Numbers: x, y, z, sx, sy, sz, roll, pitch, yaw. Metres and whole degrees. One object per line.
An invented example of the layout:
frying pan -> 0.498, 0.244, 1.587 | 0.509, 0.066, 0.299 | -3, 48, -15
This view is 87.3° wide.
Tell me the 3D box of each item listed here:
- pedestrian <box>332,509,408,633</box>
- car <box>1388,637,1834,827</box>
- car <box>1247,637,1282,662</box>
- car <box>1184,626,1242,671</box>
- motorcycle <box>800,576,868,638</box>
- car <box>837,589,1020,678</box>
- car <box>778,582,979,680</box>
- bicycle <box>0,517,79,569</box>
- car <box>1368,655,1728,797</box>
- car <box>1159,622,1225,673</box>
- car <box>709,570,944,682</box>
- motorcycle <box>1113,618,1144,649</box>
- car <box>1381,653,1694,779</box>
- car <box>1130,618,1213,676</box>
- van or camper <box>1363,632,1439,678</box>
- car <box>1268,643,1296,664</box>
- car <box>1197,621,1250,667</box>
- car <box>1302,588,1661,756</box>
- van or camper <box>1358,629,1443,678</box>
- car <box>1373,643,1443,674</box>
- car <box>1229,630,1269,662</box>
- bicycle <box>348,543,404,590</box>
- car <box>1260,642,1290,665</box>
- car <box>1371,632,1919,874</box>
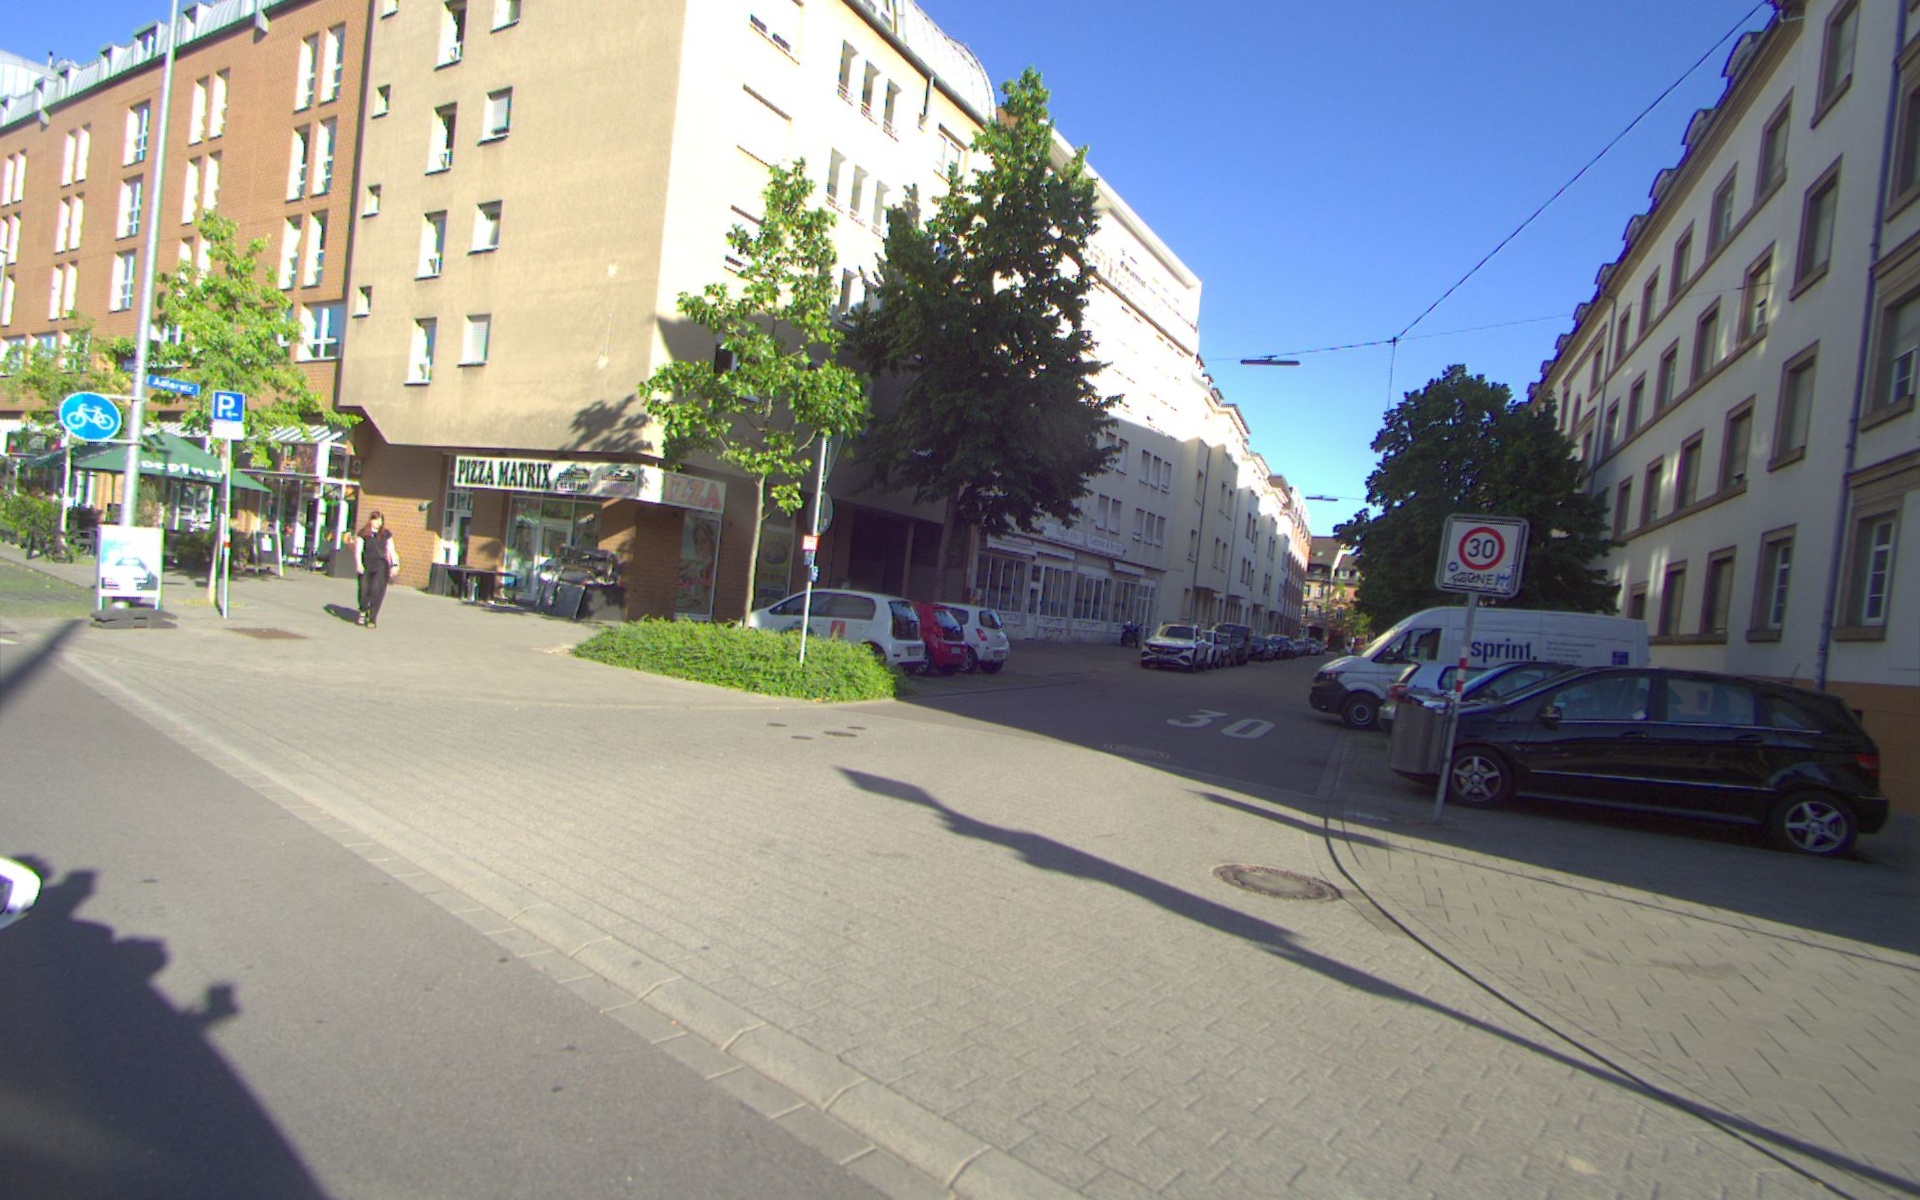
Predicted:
pedestrian -> -9.111, -0.441, 15.525 | 0.877, 1.787, 1.095 | 4, 2, -33
car -> 7.928, 1.555, 12.769 | 4.357, 1.707, 1.629 | 5, -1, 20
car -> 19.837, 3.205, 65.381 | 1.751, 1.402, 3.999 | 6, 0, 21
car -> 11.268, 2.176, 44.627 | 1.760, 1.607, 4.002 | 7, -2, 22
motorcycle -> -3.667, 0.233, 29.494 | 0.641, 1.627, 2.262 | 7, 0, 28
car -> -0.719, 0.747, 22.765 | 3.667, 1.472, 1.637 | 7, -1, 25
car -> -1.657, 0.645, 20.545 | 3.589, 1.470, 1.638 | 7, -1, 22
bicycle -> -21.356, -1.328, 23.334 | 1.964, 1.097, 0.765 | 5, 5, 29
car -> 8.622, 1.819, 15.233 | 4.358, 1.446, 1.699 | 6, -2, 21
car -> 9.340, 1.937, 40.268 | 1.792, 1.659, 4.002 | 7, -2, 22
car -> -2.424, 0.489, 18.401 | 3.765, 1.491, 1.669 | 7, -1, 20
motorcycle -> 8.068, 1.627, 48.094 | 0.641, 1.338, 2.262 | 7, 0, 28
car -> 9.724, 1.926, 17.373 | 4.358, 1.496, 1.699 | 6, -2, 22
car -> 7.609, 1.650, 35.872 | 1.964, 1.720, 4.394 | 7, 1, 23
van or camper -> 33.104, 4.130, 75.580 | 4.796, 2.751, 1.821 | 7, -1, 19
car -> 24.891, 4.118, 77.644 | 1.751, 1.402, 3.999 | 6, 0, 21
car -> 12.834, 2.150, 48.782 | 1.897, 1.820, 4.183 | 7, -2, 21
car -> 9.955, 1.310, 19.824 | 5.853, 2.642, 1.928 | 4, 0, 21
van or camper -> 29.401, 3.568, 67.320 | 4.796, 2.558, 1.821 | 7, -1, 19
car -> 28.836, 3.769, 64.886 | 3.928, 1.452, 1.696 | 7, -1, 24
car -> 16.798, 2.702, 58.403 | 1.751, 1.525, 4.003 | 7, -2, 21
bicycle -> -16.600, -0.958, 28.591 | 1.510, 1.185, 0.614 | 7, 2, 29
car -> 22.767, 3.860, 72.613 | 1.751, 1.402, 3.999 | 6, 0, 21
car -> 6.683, 1.426, 10.379 | 4.360, 1.706, 1.698 | 5, -2, 24
